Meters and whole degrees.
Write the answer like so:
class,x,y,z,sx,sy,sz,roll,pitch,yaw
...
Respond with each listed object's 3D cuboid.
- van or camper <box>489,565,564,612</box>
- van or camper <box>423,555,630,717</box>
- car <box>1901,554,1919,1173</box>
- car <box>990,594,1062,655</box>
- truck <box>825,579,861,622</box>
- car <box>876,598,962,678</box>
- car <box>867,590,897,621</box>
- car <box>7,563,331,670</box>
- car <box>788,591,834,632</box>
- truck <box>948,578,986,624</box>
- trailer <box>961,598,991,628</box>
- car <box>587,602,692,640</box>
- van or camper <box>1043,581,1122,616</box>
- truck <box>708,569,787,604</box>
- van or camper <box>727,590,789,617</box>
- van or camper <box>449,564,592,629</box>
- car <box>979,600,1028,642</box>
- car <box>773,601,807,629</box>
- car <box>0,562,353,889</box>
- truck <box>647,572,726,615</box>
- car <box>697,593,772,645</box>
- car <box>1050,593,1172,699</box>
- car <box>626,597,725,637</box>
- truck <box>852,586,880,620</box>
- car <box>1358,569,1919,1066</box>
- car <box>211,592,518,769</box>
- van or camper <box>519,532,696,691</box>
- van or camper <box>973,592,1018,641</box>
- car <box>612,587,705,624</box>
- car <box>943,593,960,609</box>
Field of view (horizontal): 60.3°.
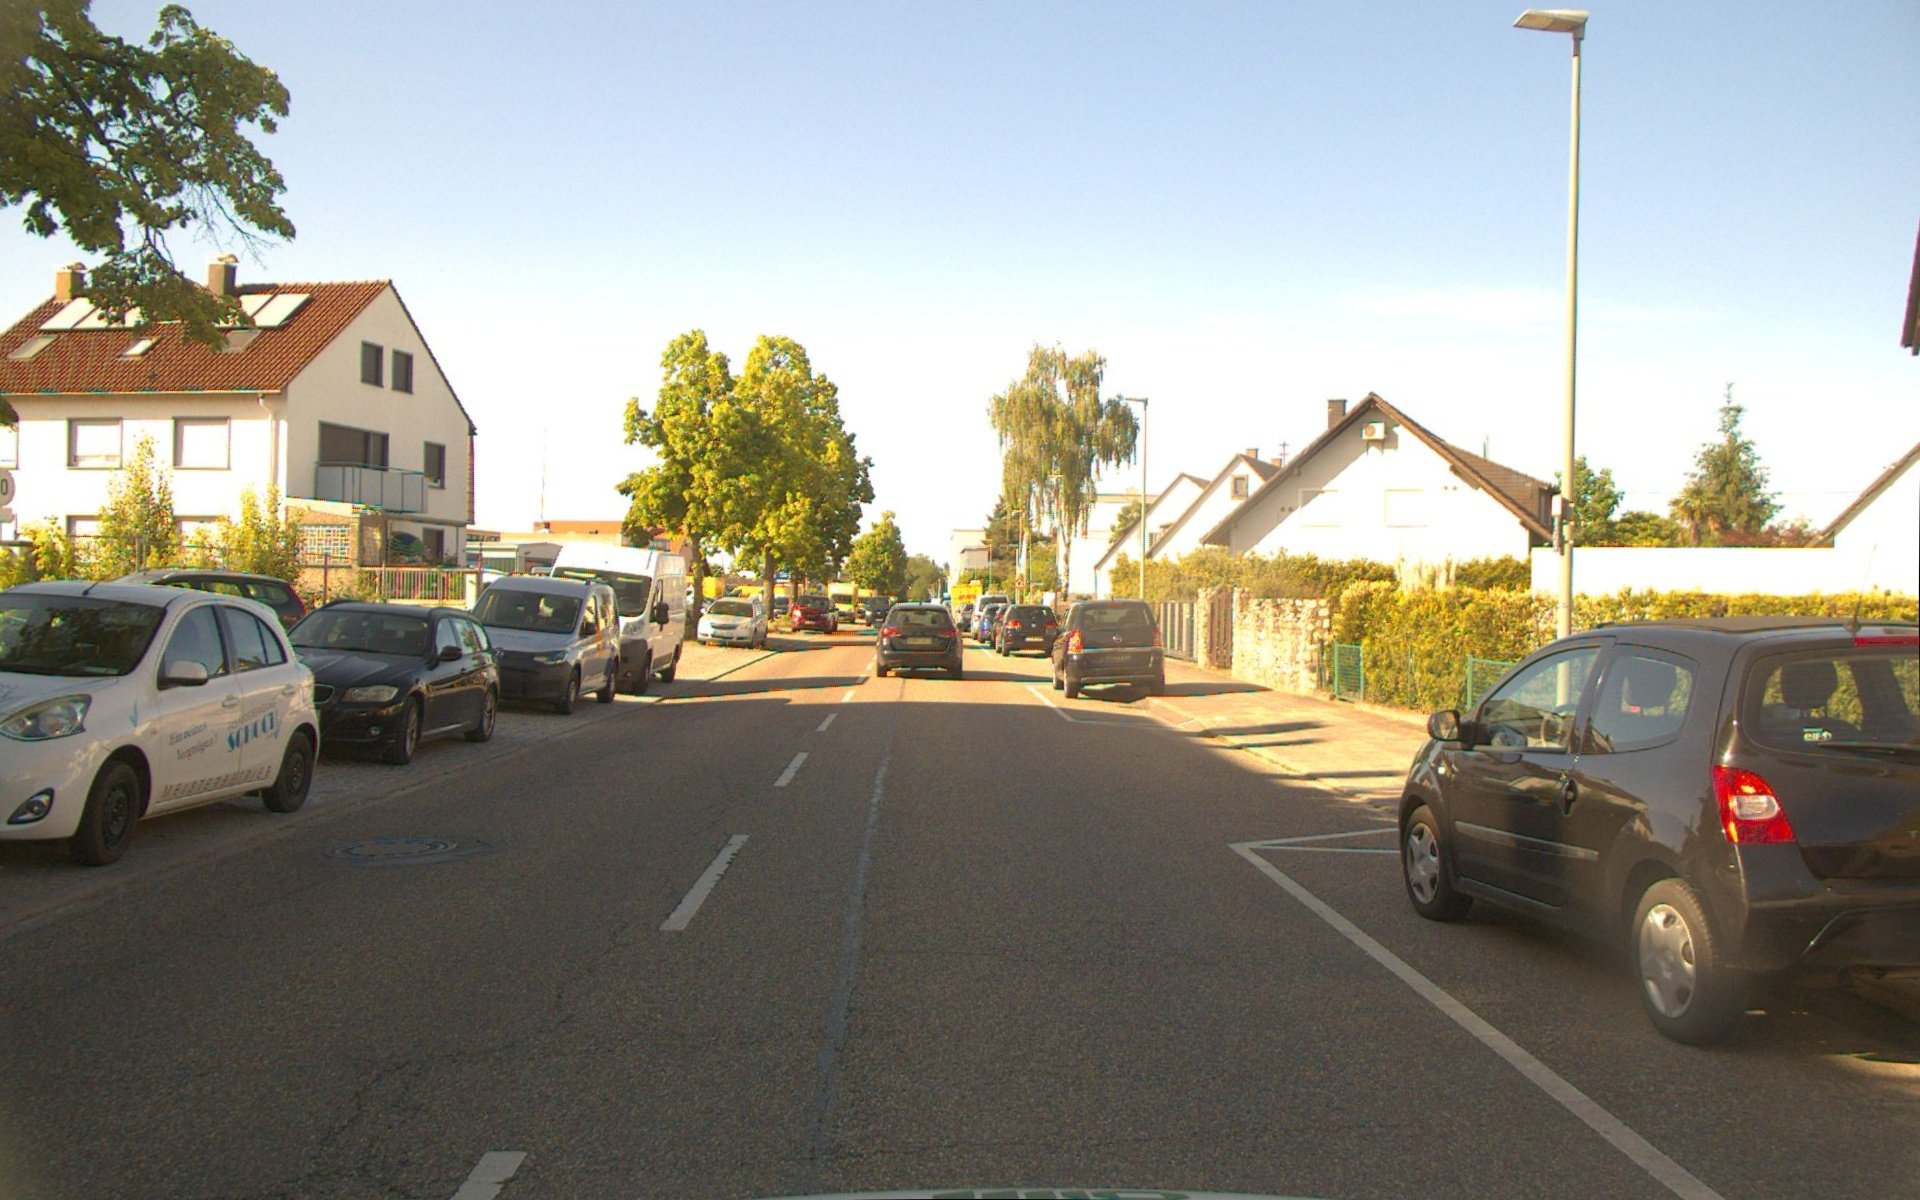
class,x,y,z,sx,sy,sz,roll,pitch,yaw
van or camper,-26.764,-0.685,102.479,2.118,2.763,6.274,1,0,9
van or camper,-6.069,0.464,23.678,1.839,2.049,4.278,2,0,-1
car,3.534,0.717,2.611,1.690,1.629,3.812,1,0,-5
car,1.912,0.683,48.653,1.740,1.688,3.814,1,0,-3
truck,-8.778,0.045,124.481,2.355,3.035,7.241,2,0,-2
car,-0.799,0.742,34.071,1.677,1.559,3.687,0,0,0
car,-5.246,0.368,111.638,1.856,2.067,4.816,-1,0,-1
car,-12.357,0.248,26.085,1.584,1.540,4.367,1,0,38
car,-7.013,0.524,78.160,1.767,1.783,4.340,2,0,-1
truck,0.434,0.087,114.771,2.354,2.988,7.014,-2,0,-1
trailer,0.869,0.708,90.772,1.594,1.565,3.198,1,0,0
car,-13.921,0.887,71.865,4.160,1.569,1.767,0,1,3
van or camper,9.409,-0.089,127.129,5.746,2.586,2.269,0,0,-28
truck,-16.992,-1.051,132.444,5.795,2.612,2.225,2,0,10
van or camper,-15.799,0.256,129.611,4.447,2.049,2.252,0,0,5
van or camper,-16.922,-0.119,63.786,4.788,2.361,2.245,1,-1,11
car,1.625,0.771,62.590,1.684,1.531,3.562,1,0,-1
car,-10.474,0.921,102.077,1.824,1.618,4.274,1,-2,-2
car,-5.421,0.607,10.319,1.658,1.593,3.907,4,0,1
truck,-21.553,-0.509,130.496,5.548,3.174,2.525,2,0,10
car,-6.951,0.568,51.423,1.652,1.460,4.209,3,0,0
car,2.591,0.746,29.231,1.739,1.688,4.303,1,0,0
car,-12.973,0.788,75.573,4.160,1.783,1.766,0,0,2
truck,-8.849,0.319,156.183,2.354,3.035,6.372,2,0,-1
car,3.202,0.720,7.401,1.624,1.629,3.812,1,0,-5
car,-5.786,0.697,16.626,1.577,1.460,4.311,3,0,-2
van or camper,-6.290,0.175,30.214,2.080,2.533,5.553,3,0,-2
van or camper,1.456,0.656,68.568,1.684,1.924,4.178,1,0,-1
car,-14.762,0.276,81.108,4.159,1.759,1.767,0,0,4
car,-1.035,0.150,195.053,1.880,1.857,4.078,1,0,-1
